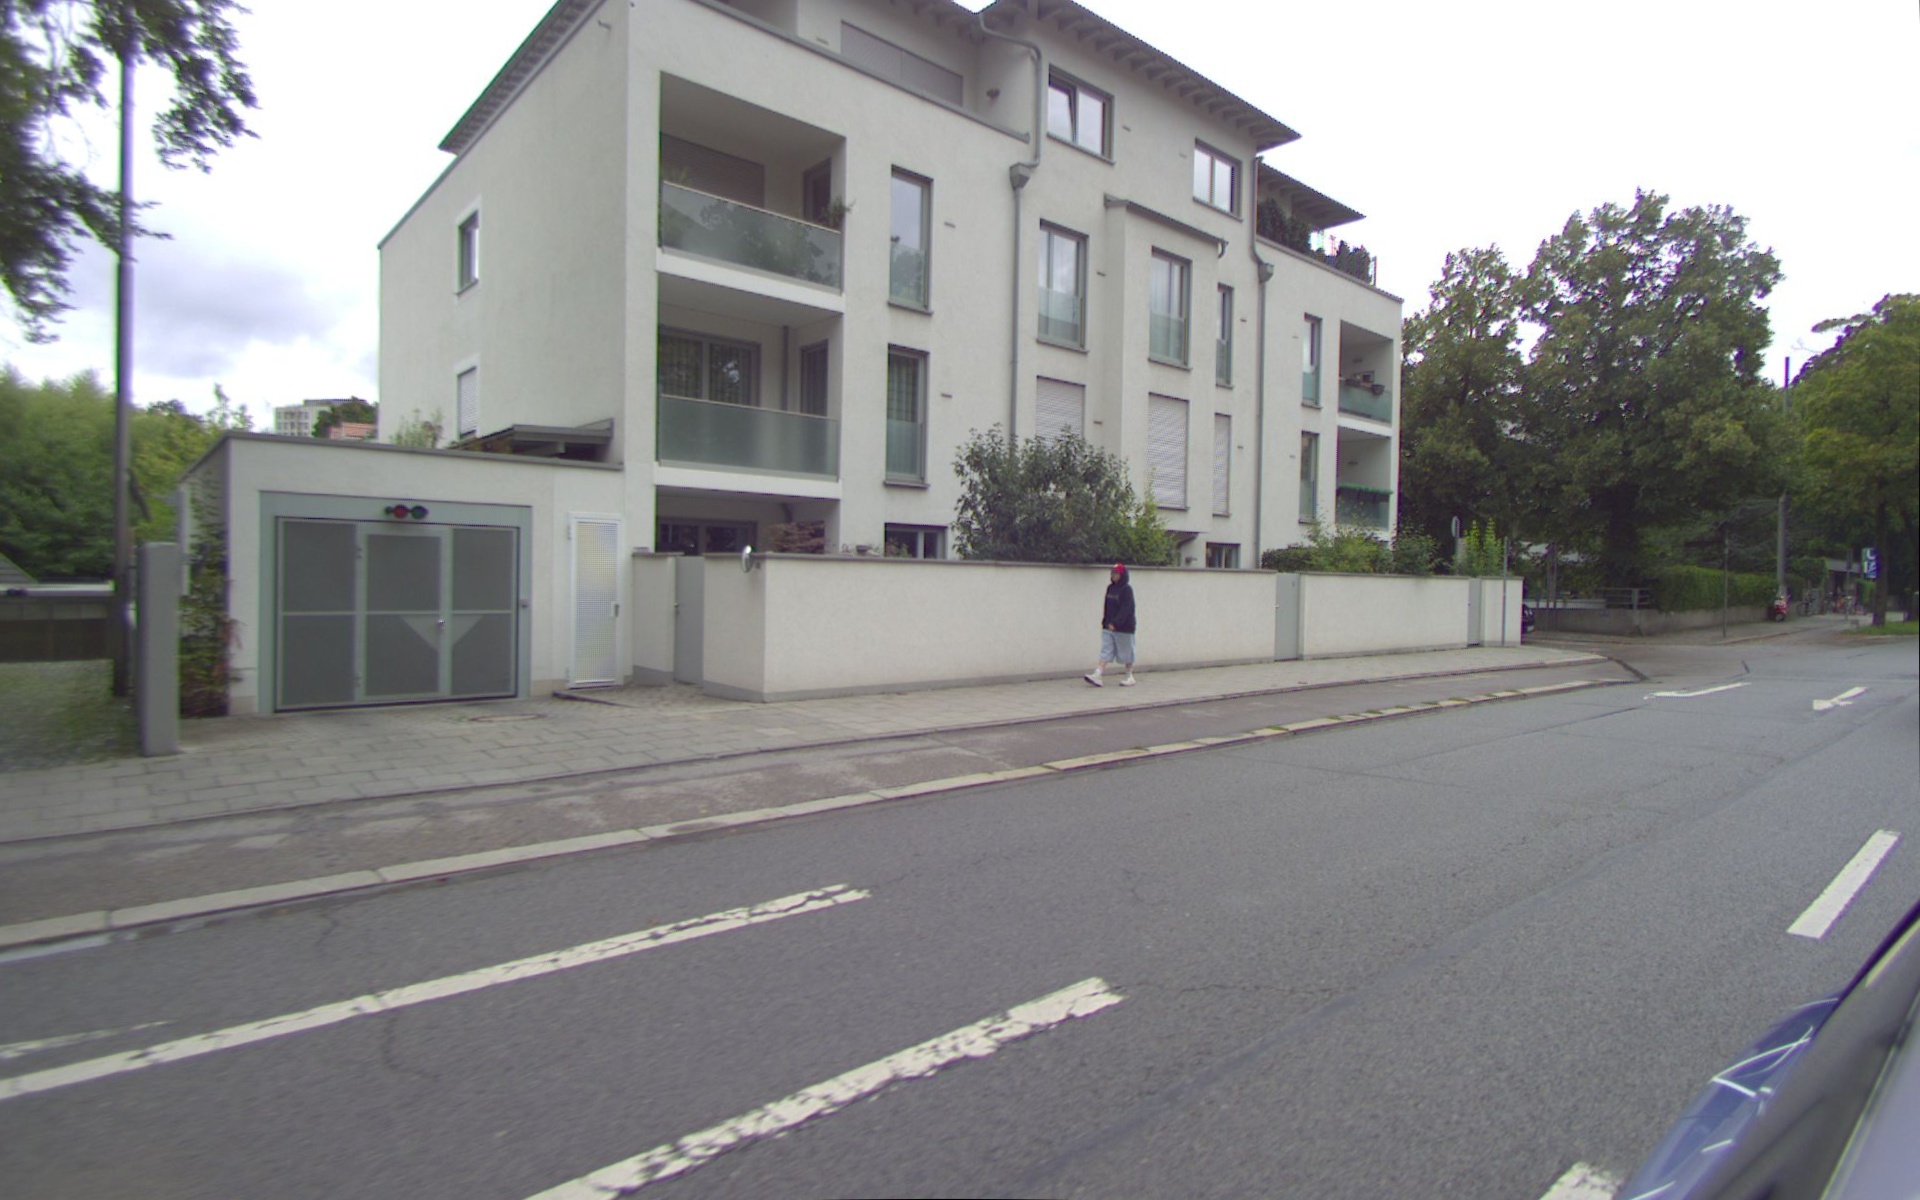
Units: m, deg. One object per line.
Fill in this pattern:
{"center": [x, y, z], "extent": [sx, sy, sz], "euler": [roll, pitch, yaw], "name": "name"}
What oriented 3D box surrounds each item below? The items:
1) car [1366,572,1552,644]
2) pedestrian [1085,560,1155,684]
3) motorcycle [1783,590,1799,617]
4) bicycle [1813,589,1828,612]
{"center": [14.965, 0.147, 30.590], "extent": [1.841, 1.947, 4.734], "euler": [-1, 2, -37], "name": "car"}
{"center": [2.149, 0.282, 13.606], "extent": [0.716, 1.600, 0.529], "euler": [0, 3, -42], "name": "pedestrian"}
{"center": [37.045, 0.154, 45.123], "extent": [0.494, 1.156, 1.610], "euler": [1, 1, 38], "name": "motorcycle"}
{"center": [42.552, 0.034, 50.066], "extent": [0.488, 1.113, 1.610], "euler": [1, 1, 38], "name": "bicycle"}
